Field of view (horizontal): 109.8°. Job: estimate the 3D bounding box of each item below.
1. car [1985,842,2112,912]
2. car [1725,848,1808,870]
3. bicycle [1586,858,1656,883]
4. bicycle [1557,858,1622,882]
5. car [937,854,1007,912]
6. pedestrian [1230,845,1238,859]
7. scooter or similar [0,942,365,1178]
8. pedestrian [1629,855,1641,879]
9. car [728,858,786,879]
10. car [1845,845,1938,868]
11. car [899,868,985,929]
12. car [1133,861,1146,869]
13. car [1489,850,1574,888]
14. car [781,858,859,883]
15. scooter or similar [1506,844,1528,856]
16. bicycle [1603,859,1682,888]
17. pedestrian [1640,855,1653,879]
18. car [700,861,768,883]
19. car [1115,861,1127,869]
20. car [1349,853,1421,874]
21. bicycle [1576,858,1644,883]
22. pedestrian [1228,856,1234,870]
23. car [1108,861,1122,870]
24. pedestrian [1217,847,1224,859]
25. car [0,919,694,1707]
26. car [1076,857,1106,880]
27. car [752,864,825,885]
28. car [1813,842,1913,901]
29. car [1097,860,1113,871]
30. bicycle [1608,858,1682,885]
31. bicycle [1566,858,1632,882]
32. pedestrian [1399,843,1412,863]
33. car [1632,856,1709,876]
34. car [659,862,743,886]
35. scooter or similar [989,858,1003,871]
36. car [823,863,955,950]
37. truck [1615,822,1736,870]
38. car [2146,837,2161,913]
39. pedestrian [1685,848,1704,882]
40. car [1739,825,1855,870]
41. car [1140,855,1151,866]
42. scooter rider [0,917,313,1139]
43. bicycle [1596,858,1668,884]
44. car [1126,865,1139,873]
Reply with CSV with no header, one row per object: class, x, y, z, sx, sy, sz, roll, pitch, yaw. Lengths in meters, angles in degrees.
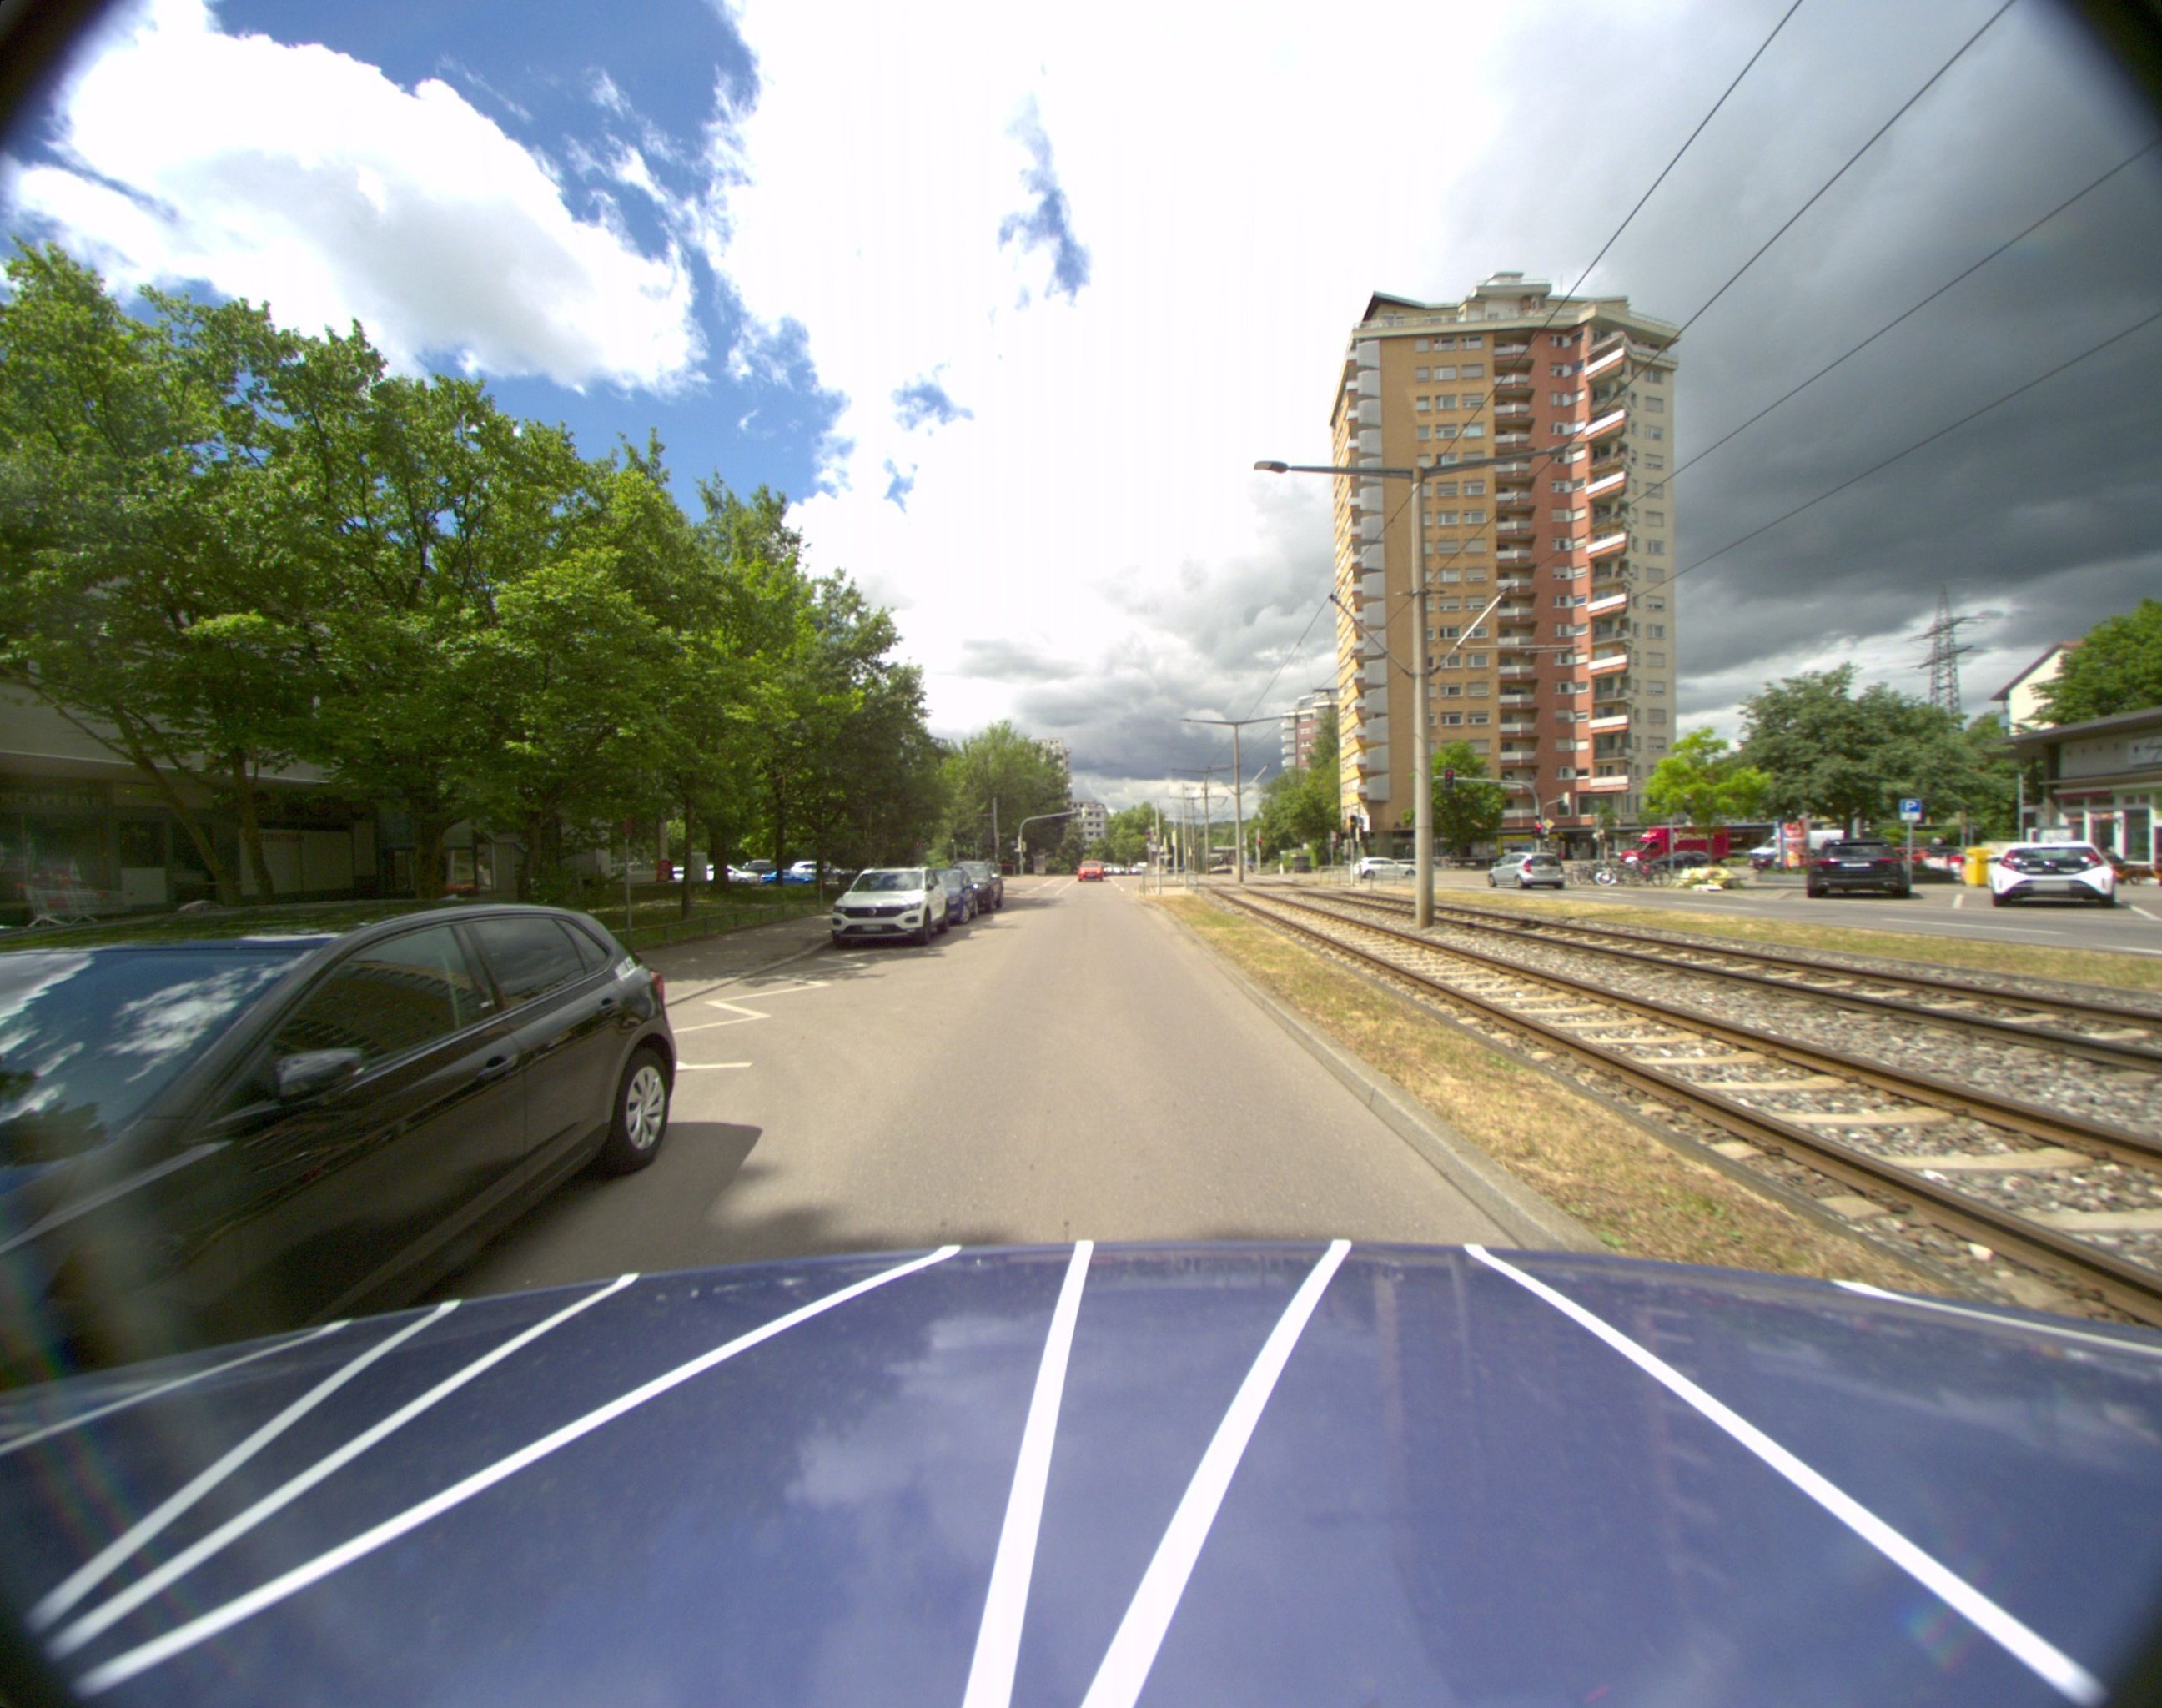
car,22.984,0.497,18.018,3.774,1.487,1.743,0,0,-36
car,49.640,0.359,55.099,3.993,1.592,2.002,0,0,13
bicycle,22.995,0.711,32.399,2.432,1.060,0.705,0,0,4
bicycle,23.249,0.728,34.752,2.432,1.060,0.705,0,0,4
car,-3.529,0.908,25.315,1.648,1.752,4.570,0,0,0
pedestrian,19.796,-0.270,98.275,0.865,1.763,0.748,0,0,4
scooter or similar,-6.226,1.226,5.067,0.892,1.058,2.114,0,-1,0
pedestrian,33.664,0.775,46.196,0.517,1.463,0.527,0,0,30
car,-24.704,1.074,58.115,3.794,1.529,1.681,0,0,-11
car,56.580,0.191,53.115,3.993,1.592,2.002,0,0,13
car,-3.692,1.137,20.820,1.648,1.449,4.076,0,0,-1
car,8.211,1.541,106.834,1.805,1.207,4.023,0,0,5
car,19.378,0.637,32.889,1.822,1.523,3.757,0,0,7
car,-17.841,1.124,52.034,4.654,1.583,1.922,0,2,-3
scooter or similar,41.452,-0.405,72.189,1.751,1.087,0.545,0,0,1
bicycle,21.802,0.767,29.512,2.432,1.028,0.717,-2,0,4
pedestrian,34.421,0.777,46.245,0.571,1.463,0.527,0,0,30
car,-23.972,1.209,52.598,3.897,1.405,1.607,0,2,-5
car,5.745,1.563,108.991,1.606,1.207,3.772,0,0,0
car,20.778,0.651,52.083,4.269,1.442,1.796,0,0,10
bicycle,23.085,0.716,33.177,2.432,1.060,0.705,0,0,4
pedestrian,20.720,1.183,105.210,0.770,1.920,0.573,0,0,3
car,4.385,1.480,98.028,1.605,1.207,3.773,0,0,6
pedestrian,19.618,-0.118,106.627,0.865,1.596,0.748,0,0,4
car,-2.965,1.060,2.144,1.820,1.440,3.826,0,0,-1
car,0.732,0.977,53.084,1.818,1.483,4.001,-2,0,3
car,-18.977,1.321,49.403,3.970,1.218,1.912,0,2,-3
car,23.177,0.485,22.535,4.008,1.582,1.927,0,0,-43
car,2.707,1.307,84.444,1.605,1.207,3.773,0,0,4
bicycle,22.886,0.699,30.868,2.432,1.060,0.705,0,0,4
bicycle,23.151,0.722,33.973,2.432,1.060,0.705,0,0,4
pedestrian,30.752,-0.086,72.032,0.920,1.923,0.854,0,0,4
car,43.557,0.875,56.232,3.993,1.485,2.002,0,0,11
car,-24.550,1.269,49.194,4.402,1.407,1.950,0,2,-5
scooter or similar,-7.553,0.925,67.340,1.170,1.188,0.449,0,0,9
car,-3.856,0.975,16.070,1.788,1.556,4.569,0,0,-2
truck,46.221,-0.580,59.249,7.089,3.653,2.549,0,0,10
car,23.334,0.436,15.184,4.008,1.622,1.901,0,0,-42
pedestrian,29.699,0.536,36.801,0.417,1.633,0.601,0,0,1
car,54.056,-0.469,57.488,6.294,3.279,2.002,0,0,12
car,13.248,1.350,156.043,1.998,2.135,4.001,0,0,1
scooter rider,-6.233,1.070,5.079,0.887,1.213,1.282,0,-1,0
bicycle,22.913,0.705,31.639,2.432,1.060,0.705,0,0,4
car,8.905,2.604,130.553,1.844,1.409,4.003,0,0,9
